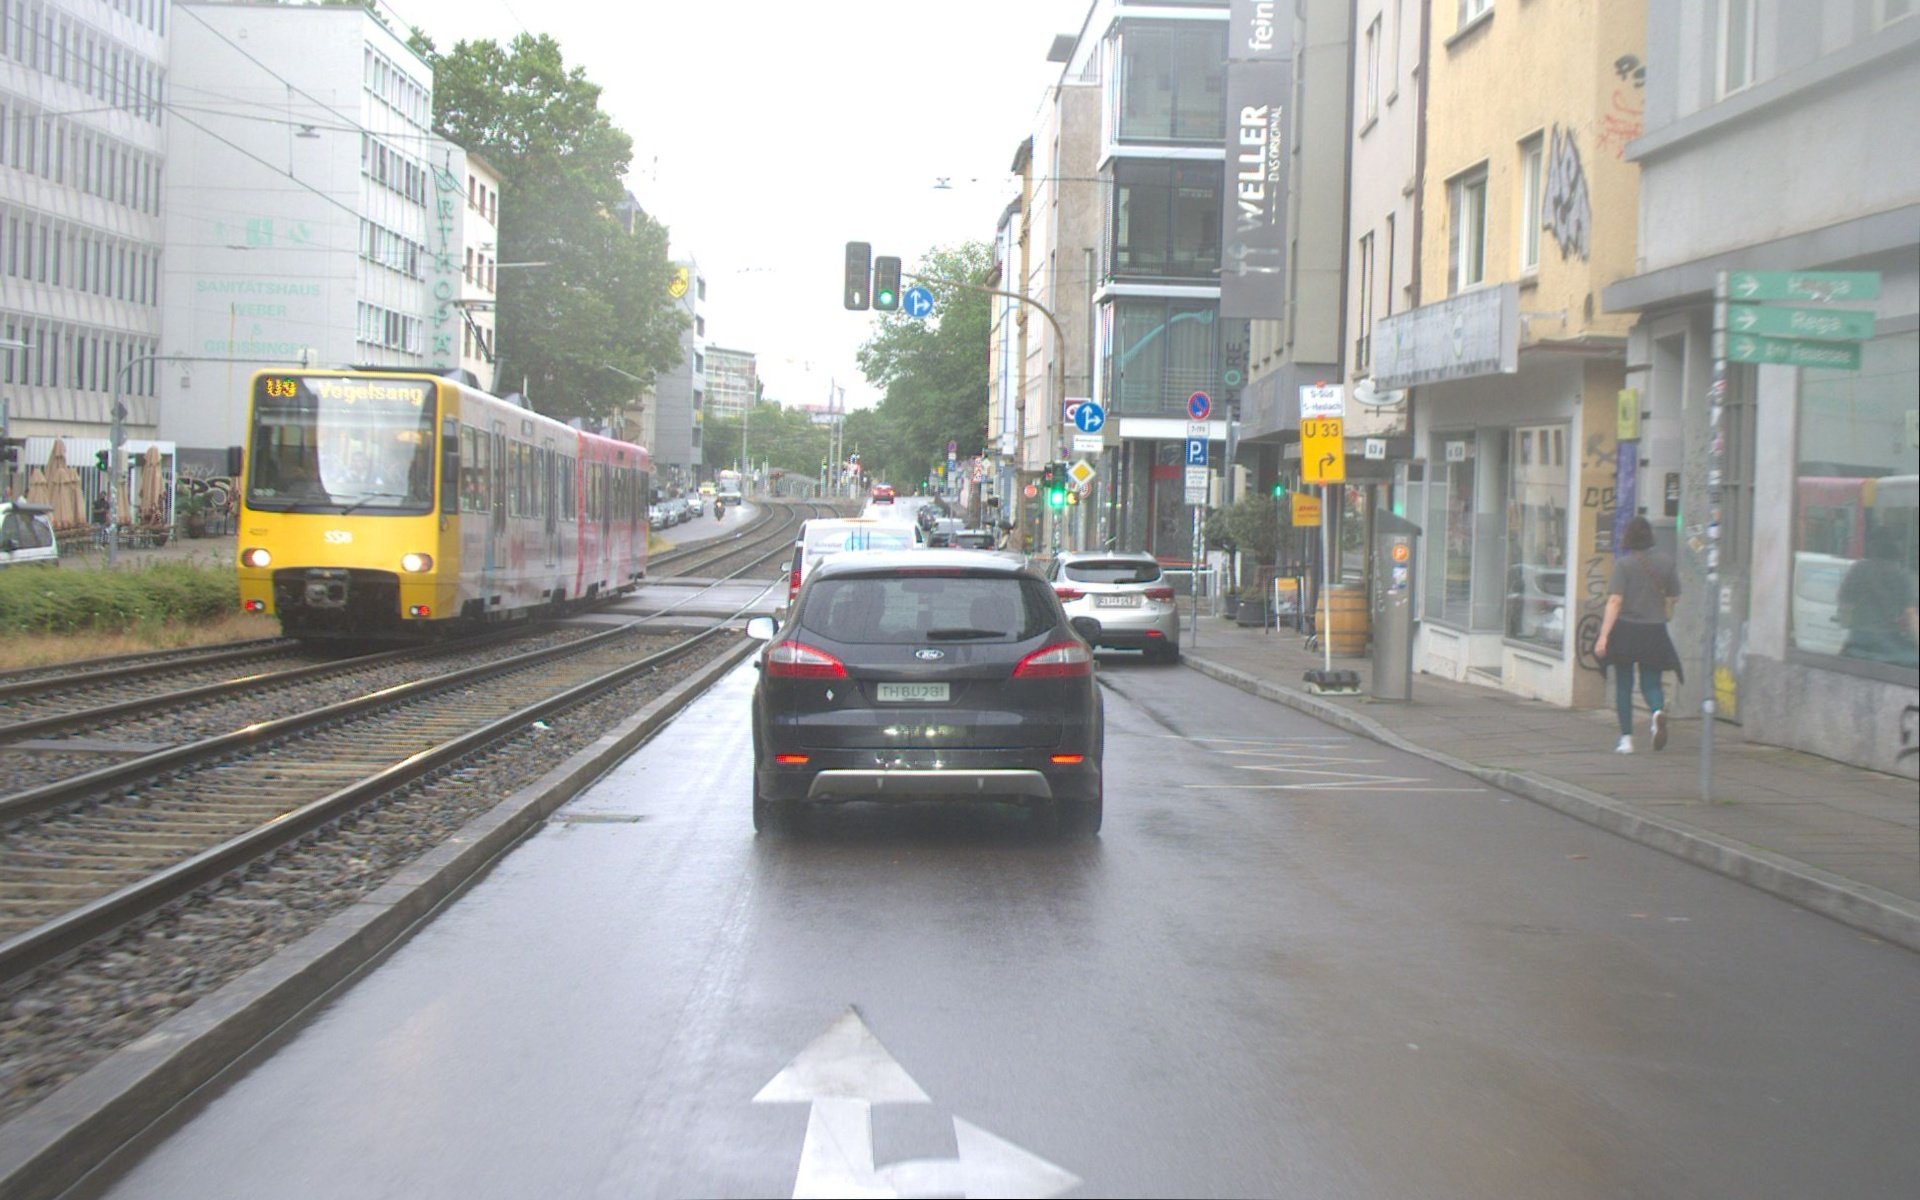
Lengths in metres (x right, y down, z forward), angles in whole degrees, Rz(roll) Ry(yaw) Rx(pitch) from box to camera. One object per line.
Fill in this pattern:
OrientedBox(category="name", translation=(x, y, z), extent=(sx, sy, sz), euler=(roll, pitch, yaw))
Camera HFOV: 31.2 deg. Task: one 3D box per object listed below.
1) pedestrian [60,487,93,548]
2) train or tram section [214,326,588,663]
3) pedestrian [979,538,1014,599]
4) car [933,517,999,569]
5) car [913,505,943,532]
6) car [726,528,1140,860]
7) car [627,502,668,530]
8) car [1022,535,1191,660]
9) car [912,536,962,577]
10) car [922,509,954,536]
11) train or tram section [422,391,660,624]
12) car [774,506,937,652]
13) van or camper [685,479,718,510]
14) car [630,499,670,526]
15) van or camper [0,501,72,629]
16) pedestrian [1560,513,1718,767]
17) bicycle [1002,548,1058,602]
OrientedBox(category="pedestrian", translation=(-25.340, -2.355, 98.587), extent=(0.740, 1.731, 0.890), euler=(1, 0, -5))
OrientedBox(category="train or tram section", translation=(-7.767, -1.370, 50.867), extent=(2.902, 4.036, 18.413), euler=(1, 1, -1))
OrientedBox(category="pedestrian", translation=(0.959, -0.835, 90.640), extent=(0.659, 1.577, 0.780), euler=(1, 1, -23))
OrientedBox(category="car", translation=(0.160, -1.793, 108.933), extent=(1.993, 1.588, 4.272), euler=(1, 1, -1))
OrientedBox(category="car", translation=(-1.934, -4.963, 208.352), extent=(1.642, 1.510, 4.040), euler=(2, 2, -2))
OrientedBox(category="car", translation=(-0.158, 0.425, 18.873), extent=(1.993, 1.588, 4.272), euler=(1, 1, -1))
OrientedBox(category="car", translation=(-17.813, -4.806, 195.910), extent=(1.993, 1.514, 4.436), euler=(2, 2, -1))
OrientedBox(category="car", translation=(1.938, -0.065, 46.860), extent=(2.024, 1.588, 4.621), euler=(1, 1, -1))
OrientedBox(category="car", translation=(-0.947, -1.783, 140.577), extent=(1.993, 1.588, 4.572), euler=(1, 1, -1))
OrientedBox(category="car", translation=(-1.288, -4.614, 203.754), extent=(1.738, 1.484, 4.001), euler=(2, 2, -2))
OrientedBox(category="train or tram section", translation=(-8.159, -1.711, 69.587), extent=(2.902, 4.036, 18.769), euler=(1, 1, -1))
OrientedBox(category="car", translation=(-1.338, -0.300, 45.695), extent=(1.993, 1.810, 4.271), euler=(1, 1, 0))
OrientedBox(category="van or camper", translation=(-17.633, -7.196, 234.642), extent=(1.993, 2.007, 4.000), euler=(1, 1, -1))
OrientedBox(category="car", translation=(-18.331, -5.184, 203.443), extent=(1.993, 1.514, 4.436), euler=(2, 2, -1))
OrientedBox(category="van or camper", translation=(-16.069, -0.589, 55.741), extent=(2.017, 1.990, 5.198), euler=(2, 0, -1))
OrientedBox(category="pedestrian", translation=(4.643, 0.263, 23.551), extent=(0.791, 1.653, 0.721), euler=(-5, 1, -1))
OrientedBox(category="bicycle", translation=(1.704, -0.620, 84.296), extent=(0.497, 1.254, 1.957), euler=(1, 1, -26))
